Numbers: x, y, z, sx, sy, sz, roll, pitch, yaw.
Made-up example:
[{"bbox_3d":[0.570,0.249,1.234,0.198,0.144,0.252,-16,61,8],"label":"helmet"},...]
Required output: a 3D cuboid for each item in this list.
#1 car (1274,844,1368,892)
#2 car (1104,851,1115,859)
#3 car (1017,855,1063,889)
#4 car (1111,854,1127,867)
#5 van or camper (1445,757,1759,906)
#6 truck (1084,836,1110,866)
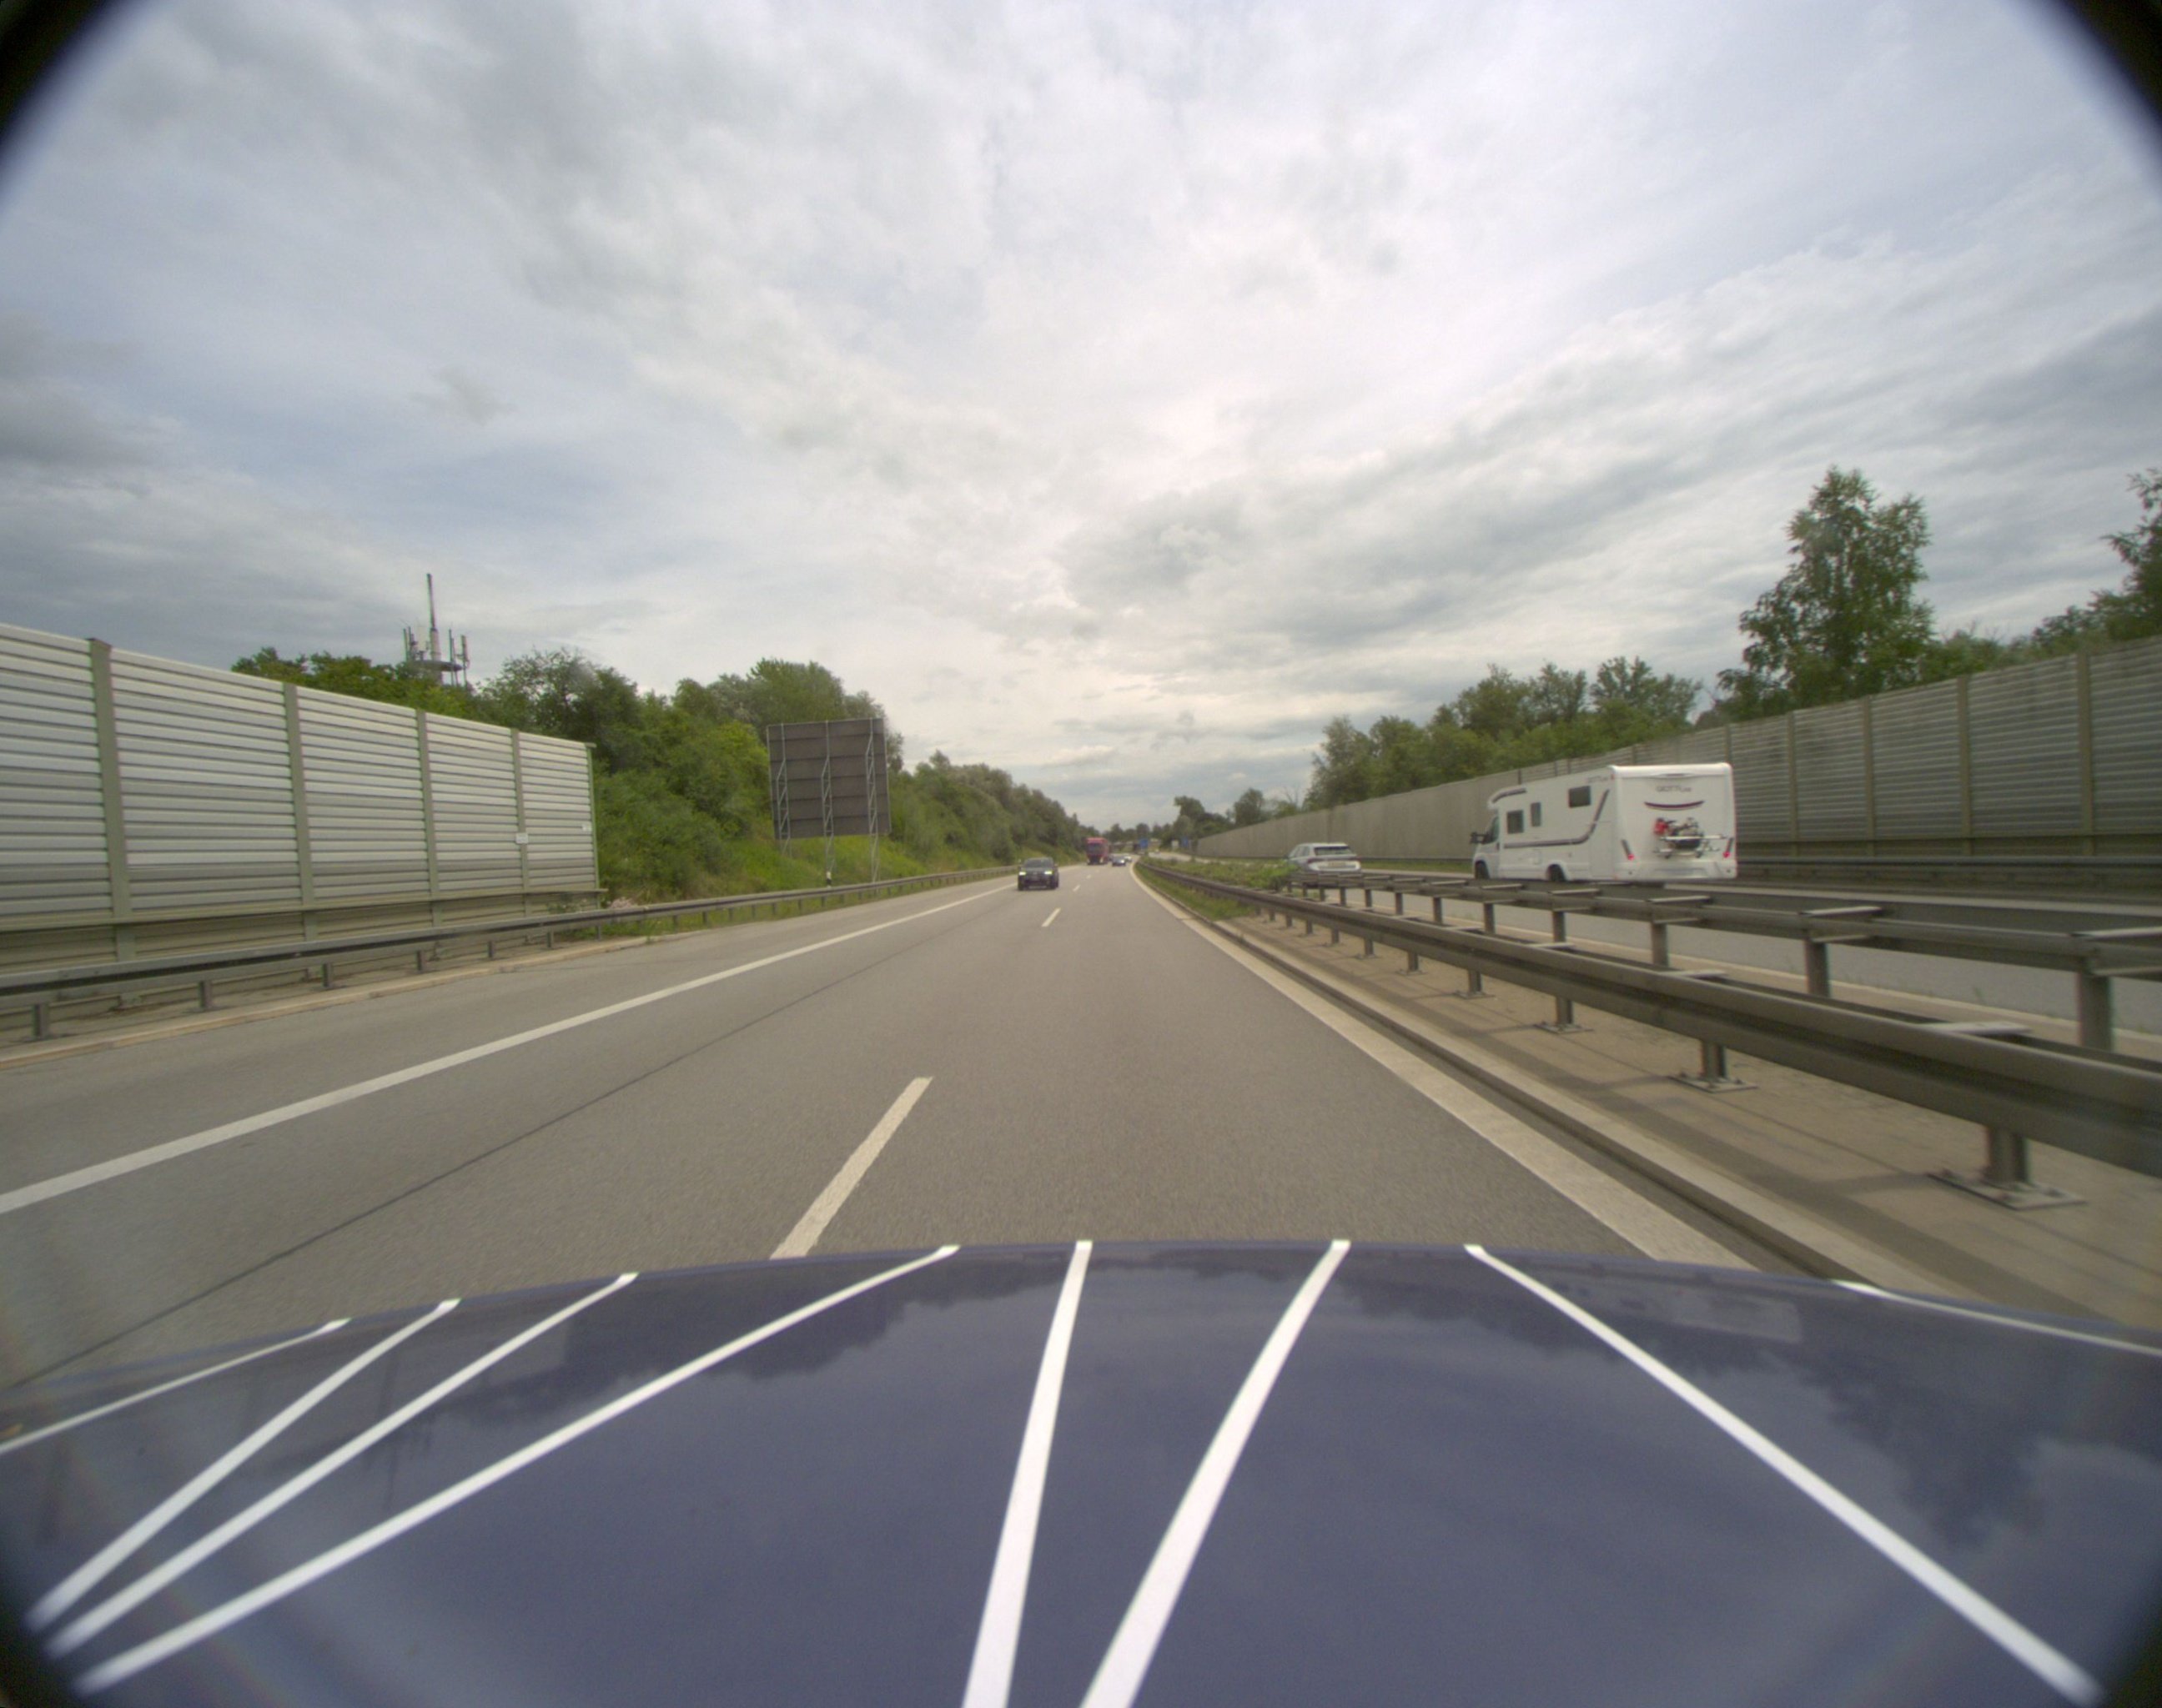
[{"bbox_3d":[7.760,0.416,25.021,1.696,1.412,4.647,-1,0,1],"label":"car"},{"bbox_3d":[5.692,0.166,149.426,1.889,1.608,4.002,-1,0,5],"label":"car"},{"bbox_3d":[-2.027,0.871,38.529,1.889,1.608,4.001,-1,0,3],"label":"car"},{"bbox_3d":[5.025,0.819,100.782,1.889,1.608,4.001,-1,0,5],"label":"car"},{"bbox_3d":[12.012,-0.436,18.682,2.472,2.853,7.768,-1,0,1],"label":"van or camper"},{"bbox_3d":[2.491,-0.455,113.564,2.933,4.068,11.346,-2,0,5],"label":"truck"}]
